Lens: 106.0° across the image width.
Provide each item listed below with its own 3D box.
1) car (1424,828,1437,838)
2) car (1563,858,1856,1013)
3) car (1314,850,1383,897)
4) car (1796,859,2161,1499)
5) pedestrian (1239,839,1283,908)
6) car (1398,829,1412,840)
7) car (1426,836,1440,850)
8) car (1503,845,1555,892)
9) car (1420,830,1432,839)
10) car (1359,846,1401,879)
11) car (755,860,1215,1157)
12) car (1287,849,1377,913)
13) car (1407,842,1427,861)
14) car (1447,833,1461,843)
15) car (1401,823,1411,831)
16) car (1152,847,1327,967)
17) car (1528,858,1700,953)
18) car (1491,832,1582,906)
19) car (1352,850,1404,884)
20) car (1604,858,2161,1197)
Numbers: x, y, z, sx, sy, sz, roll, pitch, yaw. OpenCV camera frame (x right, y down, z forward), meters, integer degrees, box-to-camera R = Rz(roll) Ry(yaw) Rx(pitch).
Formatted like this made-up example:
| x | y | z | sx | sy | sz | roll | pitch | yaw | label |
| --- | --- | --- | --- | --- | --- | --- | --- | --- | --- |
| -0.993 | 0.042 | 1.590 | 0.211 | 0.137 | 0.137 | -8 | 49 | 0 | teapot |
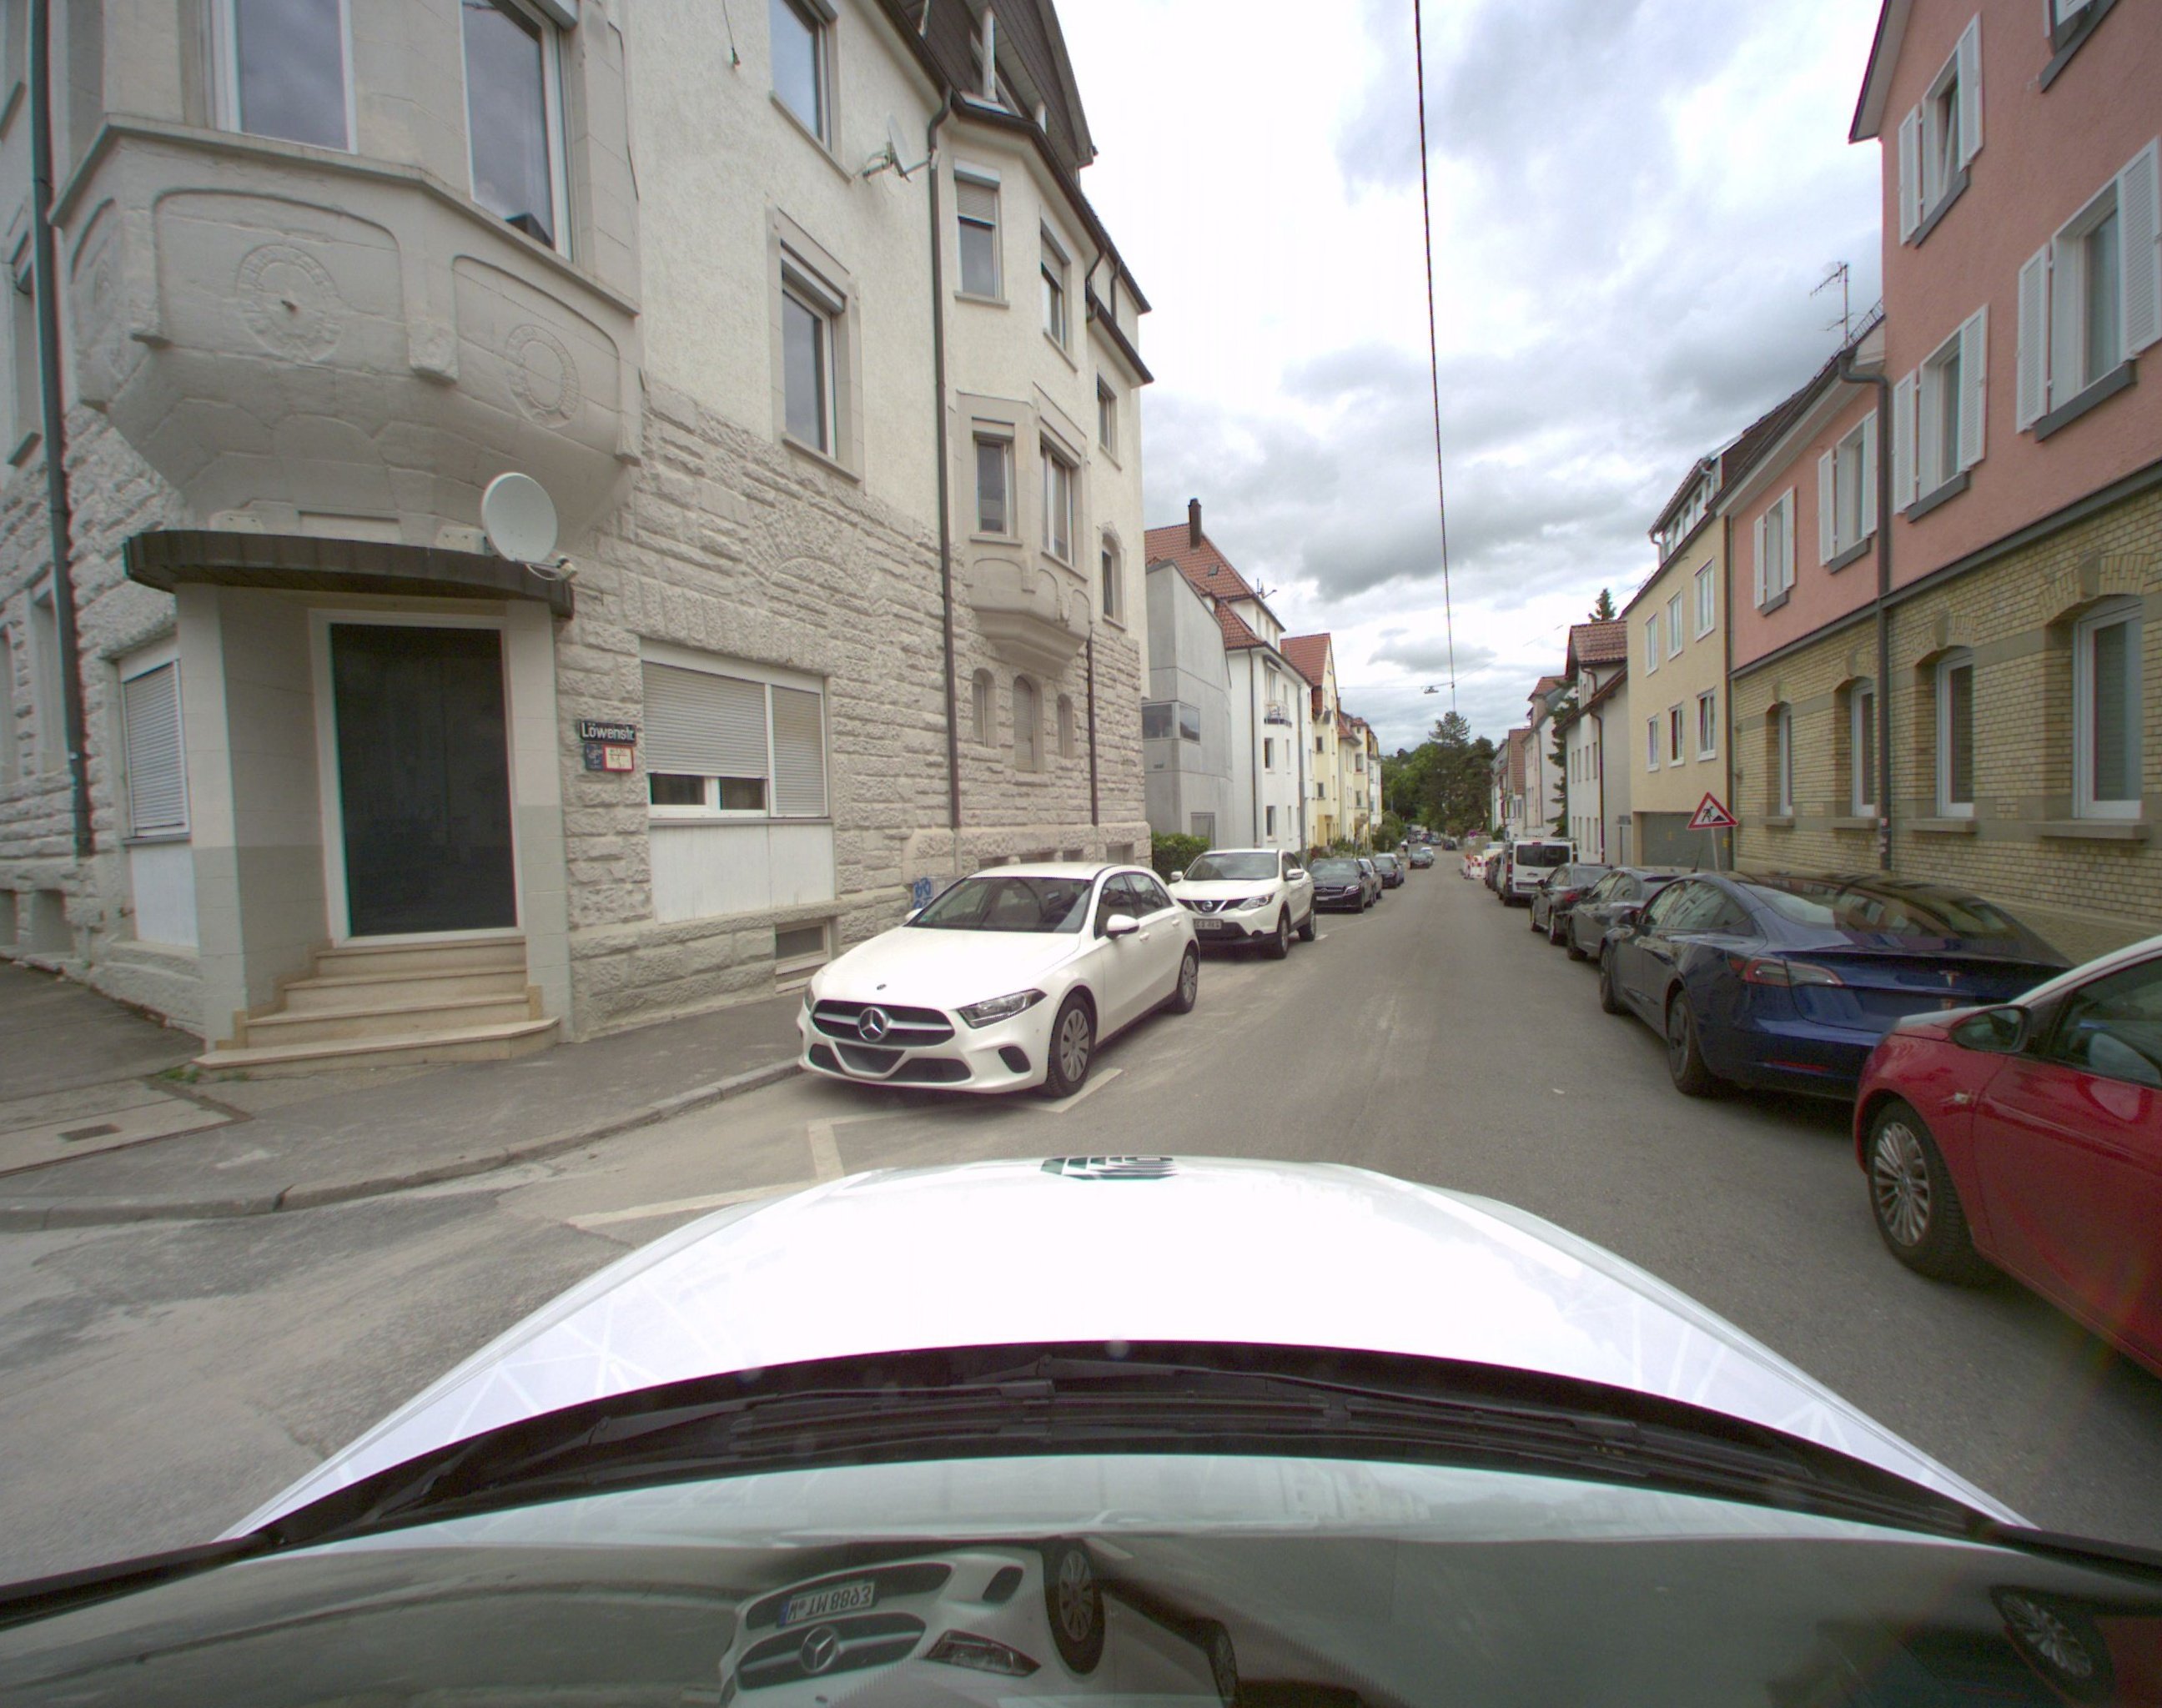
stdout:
| x | y | z | sx | sy | sz | roll | pitch | yaw | label |
| --- | --- | --- | --- | --- | --- | --- | --- | --- | --- |
| 61.957 | -3.690 | 144.320 | 1.622 | 1.483 | 3.546 | 0 | 4 | 16 | car |
| 7.410 | 0.809 | 10.114 | 1.836 | 1.403 | 3.988 | 1 | 1 | 22 | car |
| 9.237 | 0.606 | 27.869 | 1.828 | 1.413 | 5.090 | -1 | 0 | 23 | car |
| 3.416 | 0.794 | 1.810 | 1.653 | 1.479 | 3.646 | -1 | 0 | 23 | car |
| 5.094 | 0.548 | 23.040 | 0.852 | 1.884 | 0.809 | -1 | 0 | -43 | pedestrian |
| 57.073 | -3.481 | 143.429 | 1.661 | 1.656 | 3.877 | -2 | 3 | 12 | car |
| 46.947 | -1.518 | 108.494 | 1.657 | 1.656 | 3.886 | -2 | 3 | 24 | car |
| 16.251 | 0.488 | 29.628 | 1.473 | 1.596 | 2.807 | 1 | 1 | 25 | car |
| 63.008 | -3.599 | 148.862 | 1.622 | 1.483 | 3.546 | 0 | 4 | 16 | car |
| 15.769 | 0.418 | 42.851 | 1.828 | 1.631 | 4.310 | -1 | 0 | 23 | car |
| -0.294 | 0.817 | 6.433 | 1.684 | 1.414 | 4.264 | -1 | 0 | 23 | car |
| 6.973 | 0.661 | 22.324 | 1.879 | 1.527 | 4.495 | -1 | 0 | 23 | car |
| 34.100 | -0.289 | 82.683 | 1.829 | 1.815 | 4.569 | -2 | 0 | 22 | car |
| 60.440 | -2.612 | 132.153 | 1.621 | 1.483 | 3.547 | 0 | 4 | 17 | car |
| 69.838 | -5.814 | 174.925 | 1.622 | 1.537 | 3.546 | 0 | 4 | 16 | car |
| 2.660 | 0.685 | 12.804 | 1.828 | 1.515 | 4.264 | -1 | 0 | 23 | car |
| 9.407 | 0.789 | 14.765 | 1.836 | 1.403 | 4.600 | 1 | 0 | 23 | car |
| 14.079 | 0.353 | 25.454 | 1.888 | 2.029 | 5.765 | 1 | 1 | 23 | car |
| 13.673 | 0.568 | 37.300 | 1.828 | 1.457 | 4.530 | -2 | -1 | 25 | car |
| 5.190 | 0.789 | 5.845 | 1.836 | 1.403 | 4.317 | 1 | 1 | 25 | car |
